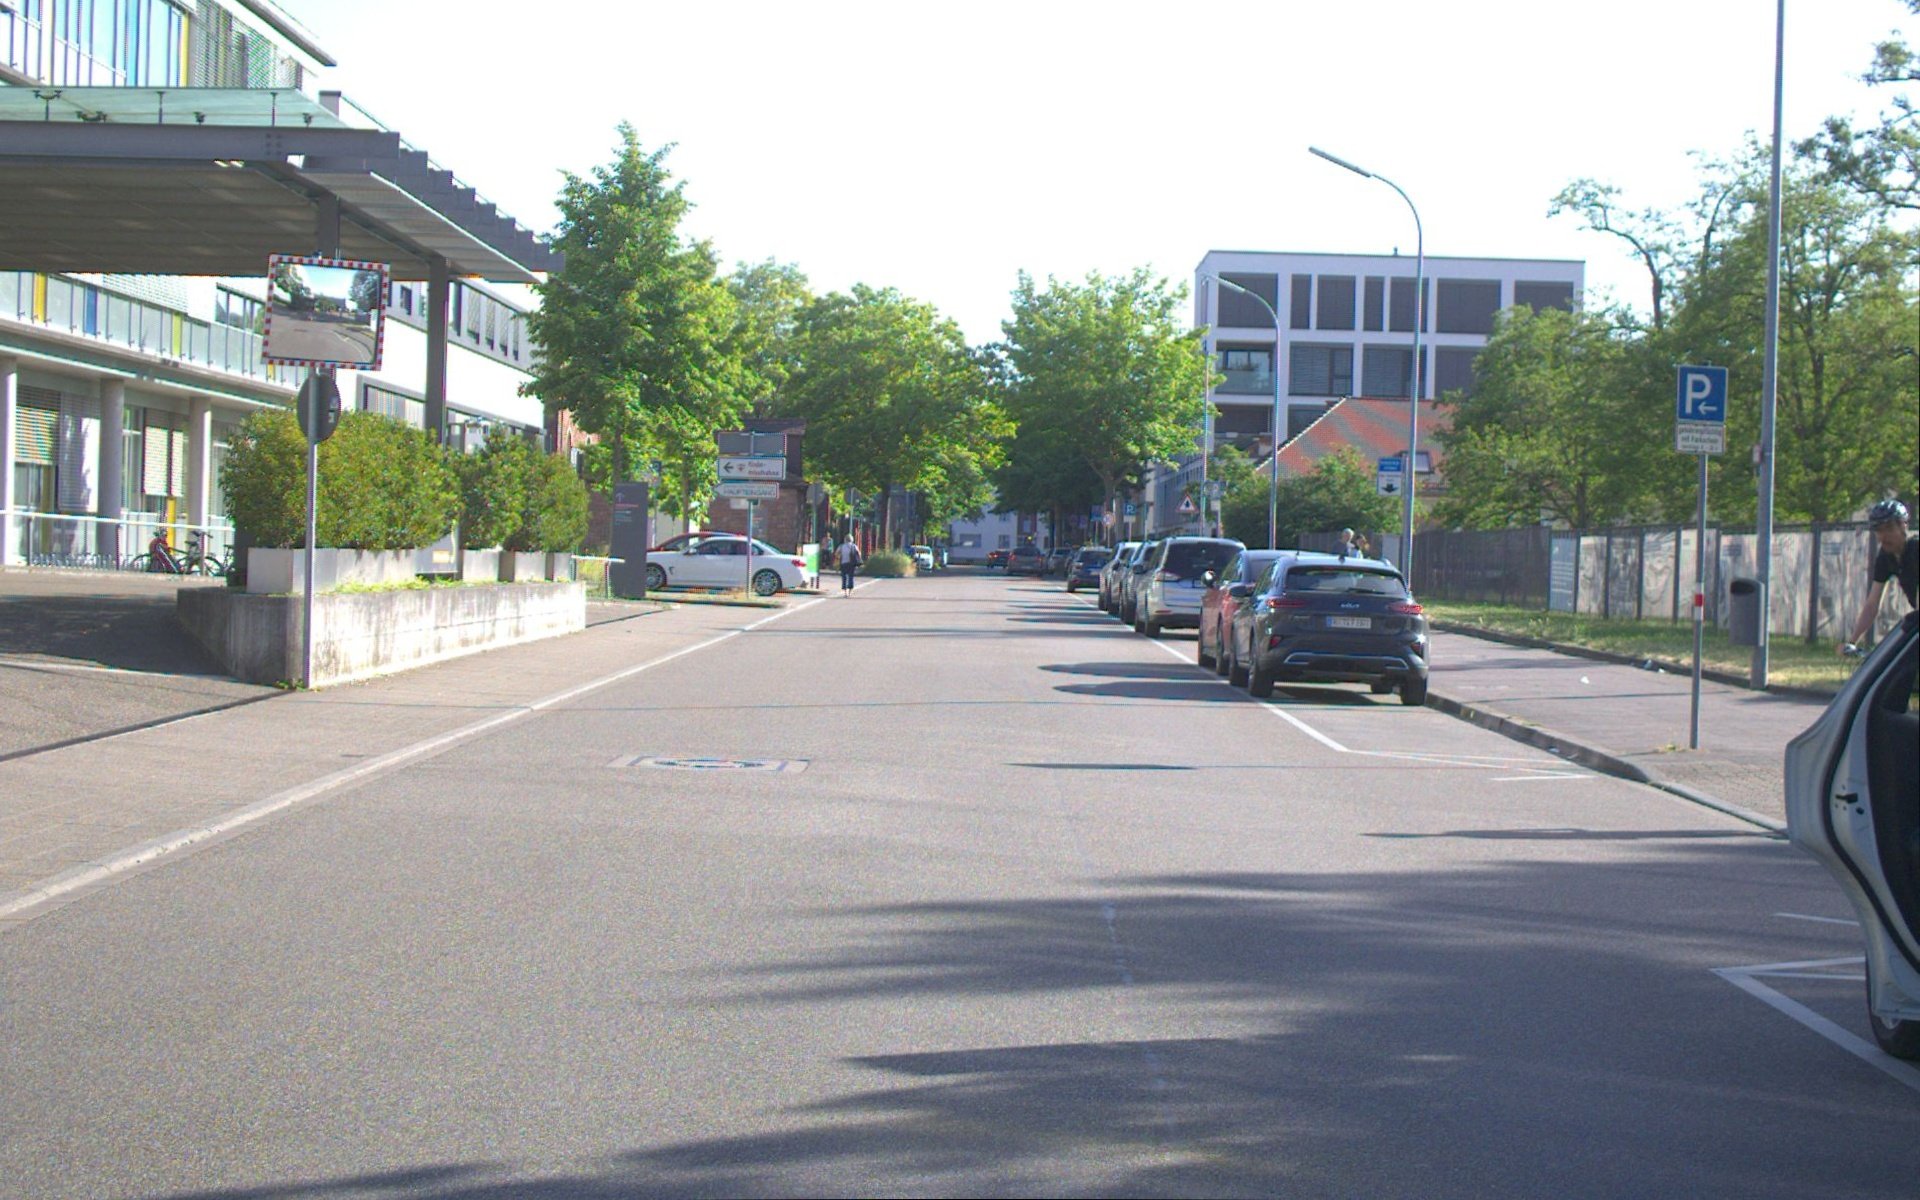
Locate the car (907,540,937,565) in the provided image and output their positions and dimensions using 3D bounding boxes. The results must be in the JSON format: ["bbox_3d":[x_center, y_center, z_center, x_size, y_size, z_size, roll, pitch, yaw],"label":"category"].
[{"bbox_3d":[-2.318,-2.900,210.717,1.767,1.482,4.000,2,1,-1],"label":"car"}]

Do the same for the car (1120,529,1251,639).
[{"bbox_3d":[3.821,-0.314,58.935,1.809,1.716,4.705,3,1,-1],"label":"car"}]

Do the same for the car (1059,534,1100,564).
[{"bbox_3d":[5.912,-2.522,170.449,1.767,1.435,4.000,2,1,-1],"label":"car"}]

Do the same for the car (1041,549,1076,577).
[{"bbox_3d":[5.702,-2.164,199.780,1.950,1.573,3.836,2,1,1],"label":"car"}]

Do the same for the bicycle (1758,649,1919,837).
[{"bbox_3d":[5.730,0.834,20.738,1.879,1.005,0.701,-2,3,-34],"label":"bicycle"}]

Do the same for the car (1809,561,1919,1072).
[{"bbox_3d":[3.717,0.711,9.565,1.664,1.508,4.114,3,1,1],"label":"car"}]

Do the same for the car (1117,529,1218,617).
[{"bbox_3d":[4.084,-0.565,68.142,1.700,1.600,4.353,3,1,1],"label":"car"}]

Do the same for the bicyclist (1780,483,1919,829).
[{"bbox_3d":[5.664,0.305,20.678,1.049,2.006,0.959,-2,2,-34],"label":"bicyclist"}]

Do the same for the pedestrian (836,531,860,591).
[{"bbox_3d":[-2.866,-0.991,88.013,0.538,1.518,0.607,1,1,2],"label":"pedestrian"}]

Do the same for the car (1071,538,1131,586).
[{"bbox_3d":[4.460,-1.215,109.376,1.818,1.448,4.214,1,1,1],"label":"car"}]

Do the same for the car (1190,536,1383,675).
[{"bbox_3d":[3.971,0.020,42.486,1.809,1.505,4.722,3,1,-1],"label":"car"}]

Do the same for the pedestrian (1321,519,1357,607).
[{"bbox_3d":[7.482,-0.734,67.910,0.521,1.702,0.522,4,0,-2],"label":"pedestrian"}]

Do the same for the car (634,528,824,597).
[{"bbox_3d":[-5.658,-0.921,84.219,4.511,1.362,1.700,4,1,-4],"label":"car"}]

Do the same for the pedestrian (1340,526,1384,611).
[{"bbox_3d":[7.865,-0.617,67.330,0.681,1.606,0.541,4,0,-2],"label":"pedestrian"}]

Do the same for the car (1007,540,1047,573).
[{"bbox_3d":[3.286,-2.148,169.249,1.767,1.543,4.066,2,1,-1],"label":"car"}]

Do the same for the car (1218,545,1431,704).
[{"bbox_3d":[3.828,0.216,36.706,1.700,1.482,4.215,3,1,-1],"label":"car"}]

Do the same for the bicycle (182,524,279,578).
[{"bbox_3d":[-13.930,-0.935,65.669,1.715,0.990,0.536,1,1,0],"label":"bicycle"}]
